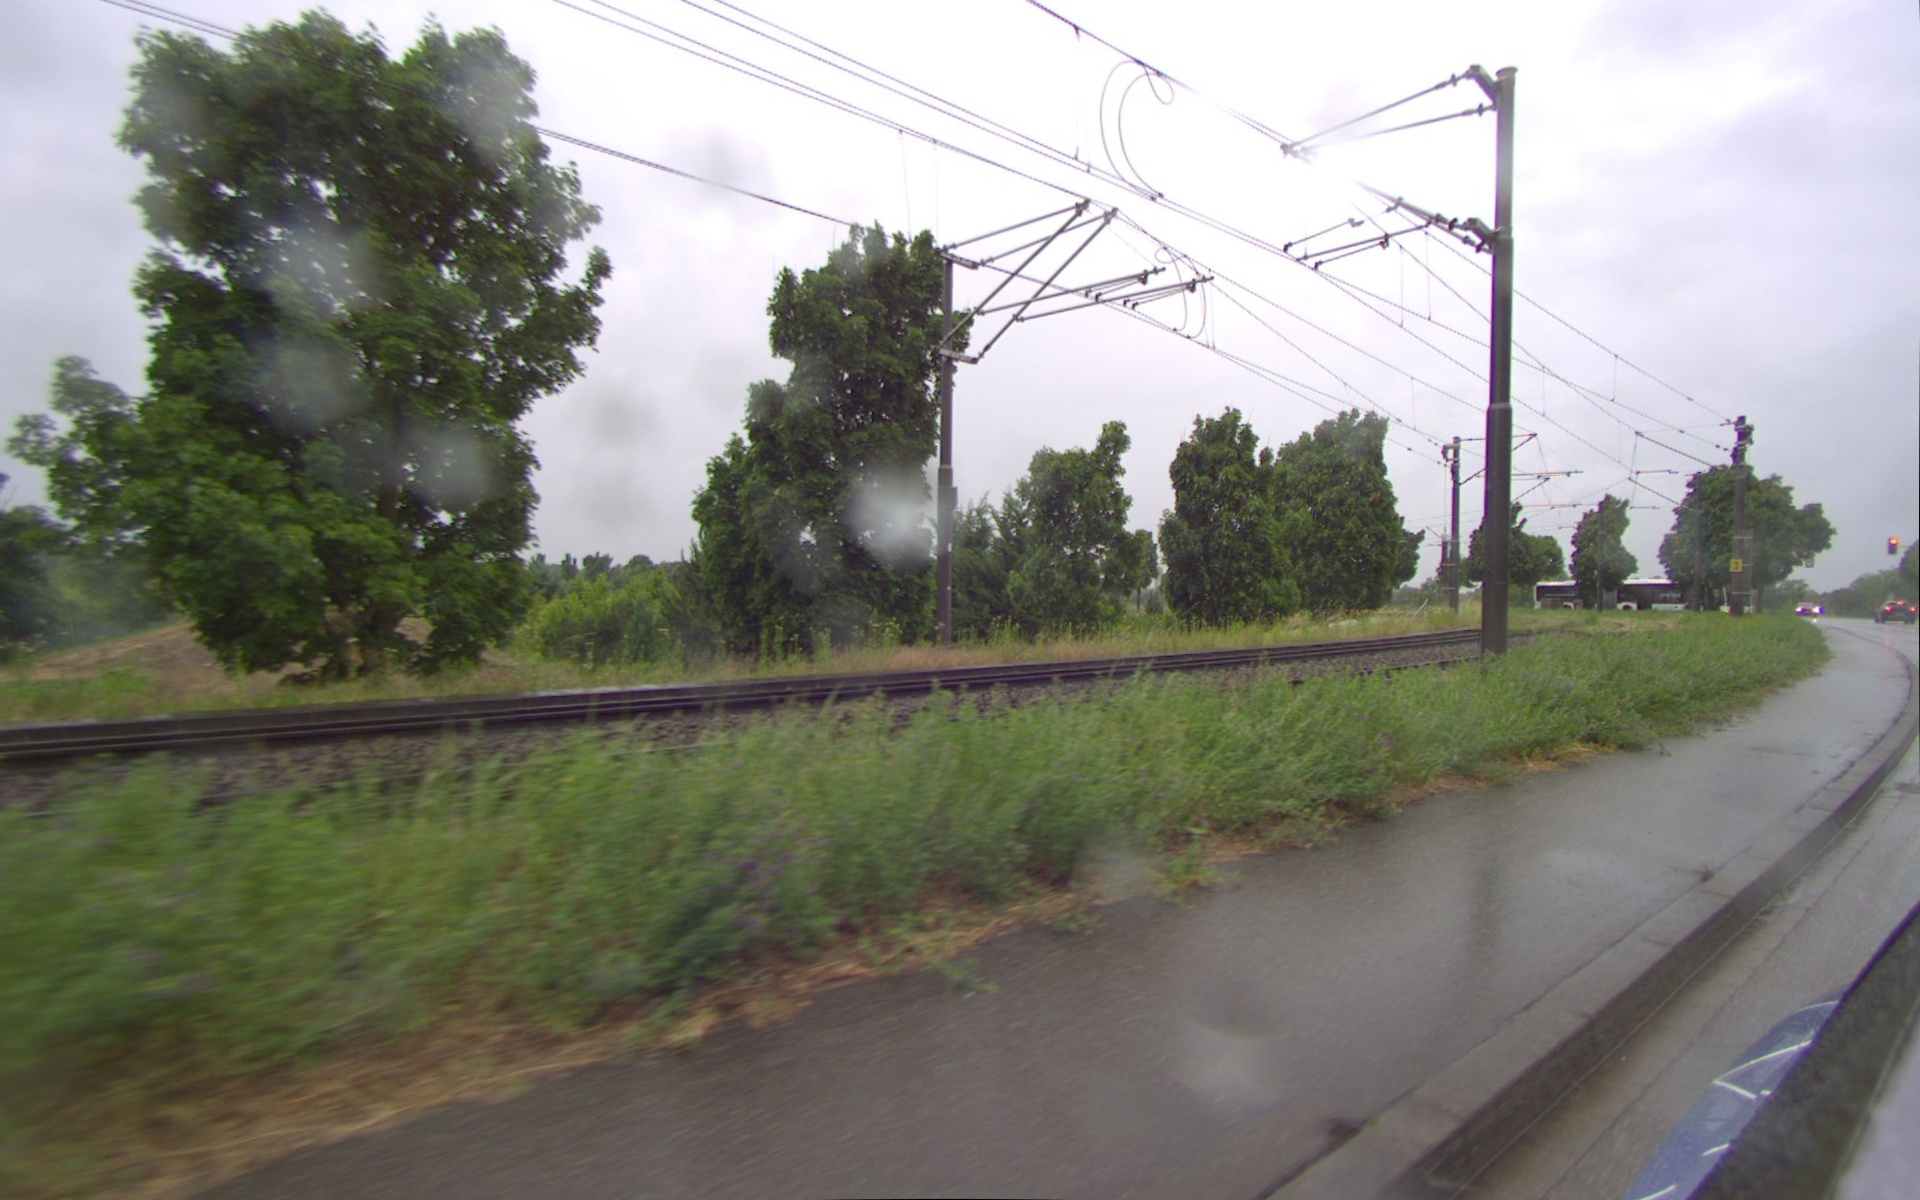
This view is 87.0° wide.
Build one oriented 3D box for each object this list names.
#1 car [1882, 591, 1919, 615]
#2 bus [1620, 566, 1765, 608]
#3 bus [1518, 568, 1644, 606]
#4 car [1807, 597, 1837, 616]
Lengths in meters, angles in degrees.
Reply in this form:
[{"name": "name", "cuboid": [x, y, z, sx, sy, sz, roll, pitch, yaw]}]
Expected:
[{"name": "car", "cuboid": [64.809, 0.180, 69.520, 1.758, 1.556, 3.825, 2, 1, 37]}, {"name": "bus", "cuboid": [56.782, -0.998, 78.896, 2.623, 3.116, 10.013, 0, 0, -11]}, {"name": "bus", "cuboid": [54.151, -1.152, 88.732, 2.622, 3.116, 10.015, 0, 0, -19]}, {"name": "car", "cuboid": [96.312, 0.753, 113.043, 3.929, 2.039, 1.919, 0, 0, -40]}]
